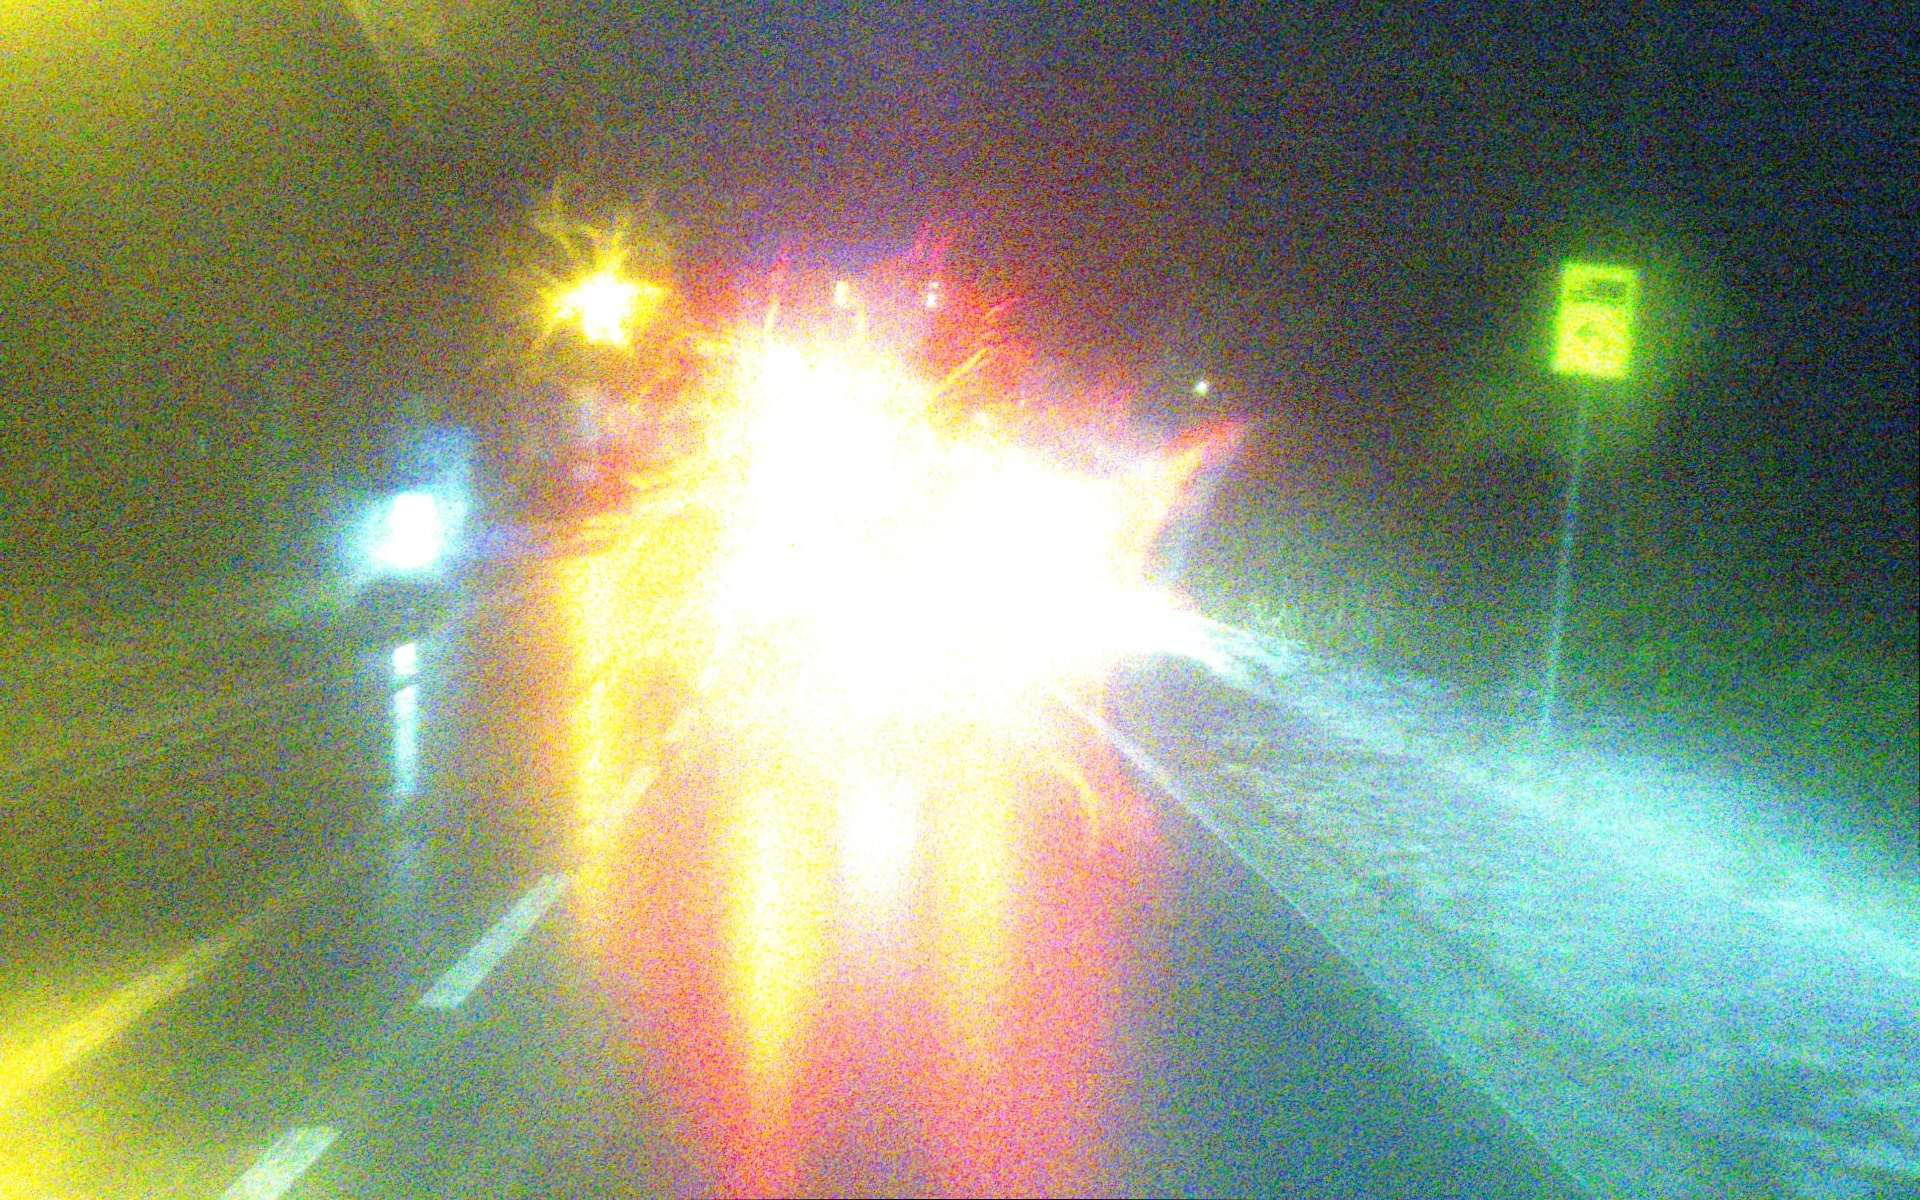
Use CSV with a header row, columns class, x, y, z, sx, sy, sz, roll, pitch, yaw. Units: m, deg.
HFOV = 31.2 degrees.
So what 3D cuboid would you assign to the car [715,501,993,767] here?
class,x,y,z,sx,sy,sz,roll,pitch,yaw
car,-0.694,0.164,24.211,1.791,1.675,3.905,0,2,0
